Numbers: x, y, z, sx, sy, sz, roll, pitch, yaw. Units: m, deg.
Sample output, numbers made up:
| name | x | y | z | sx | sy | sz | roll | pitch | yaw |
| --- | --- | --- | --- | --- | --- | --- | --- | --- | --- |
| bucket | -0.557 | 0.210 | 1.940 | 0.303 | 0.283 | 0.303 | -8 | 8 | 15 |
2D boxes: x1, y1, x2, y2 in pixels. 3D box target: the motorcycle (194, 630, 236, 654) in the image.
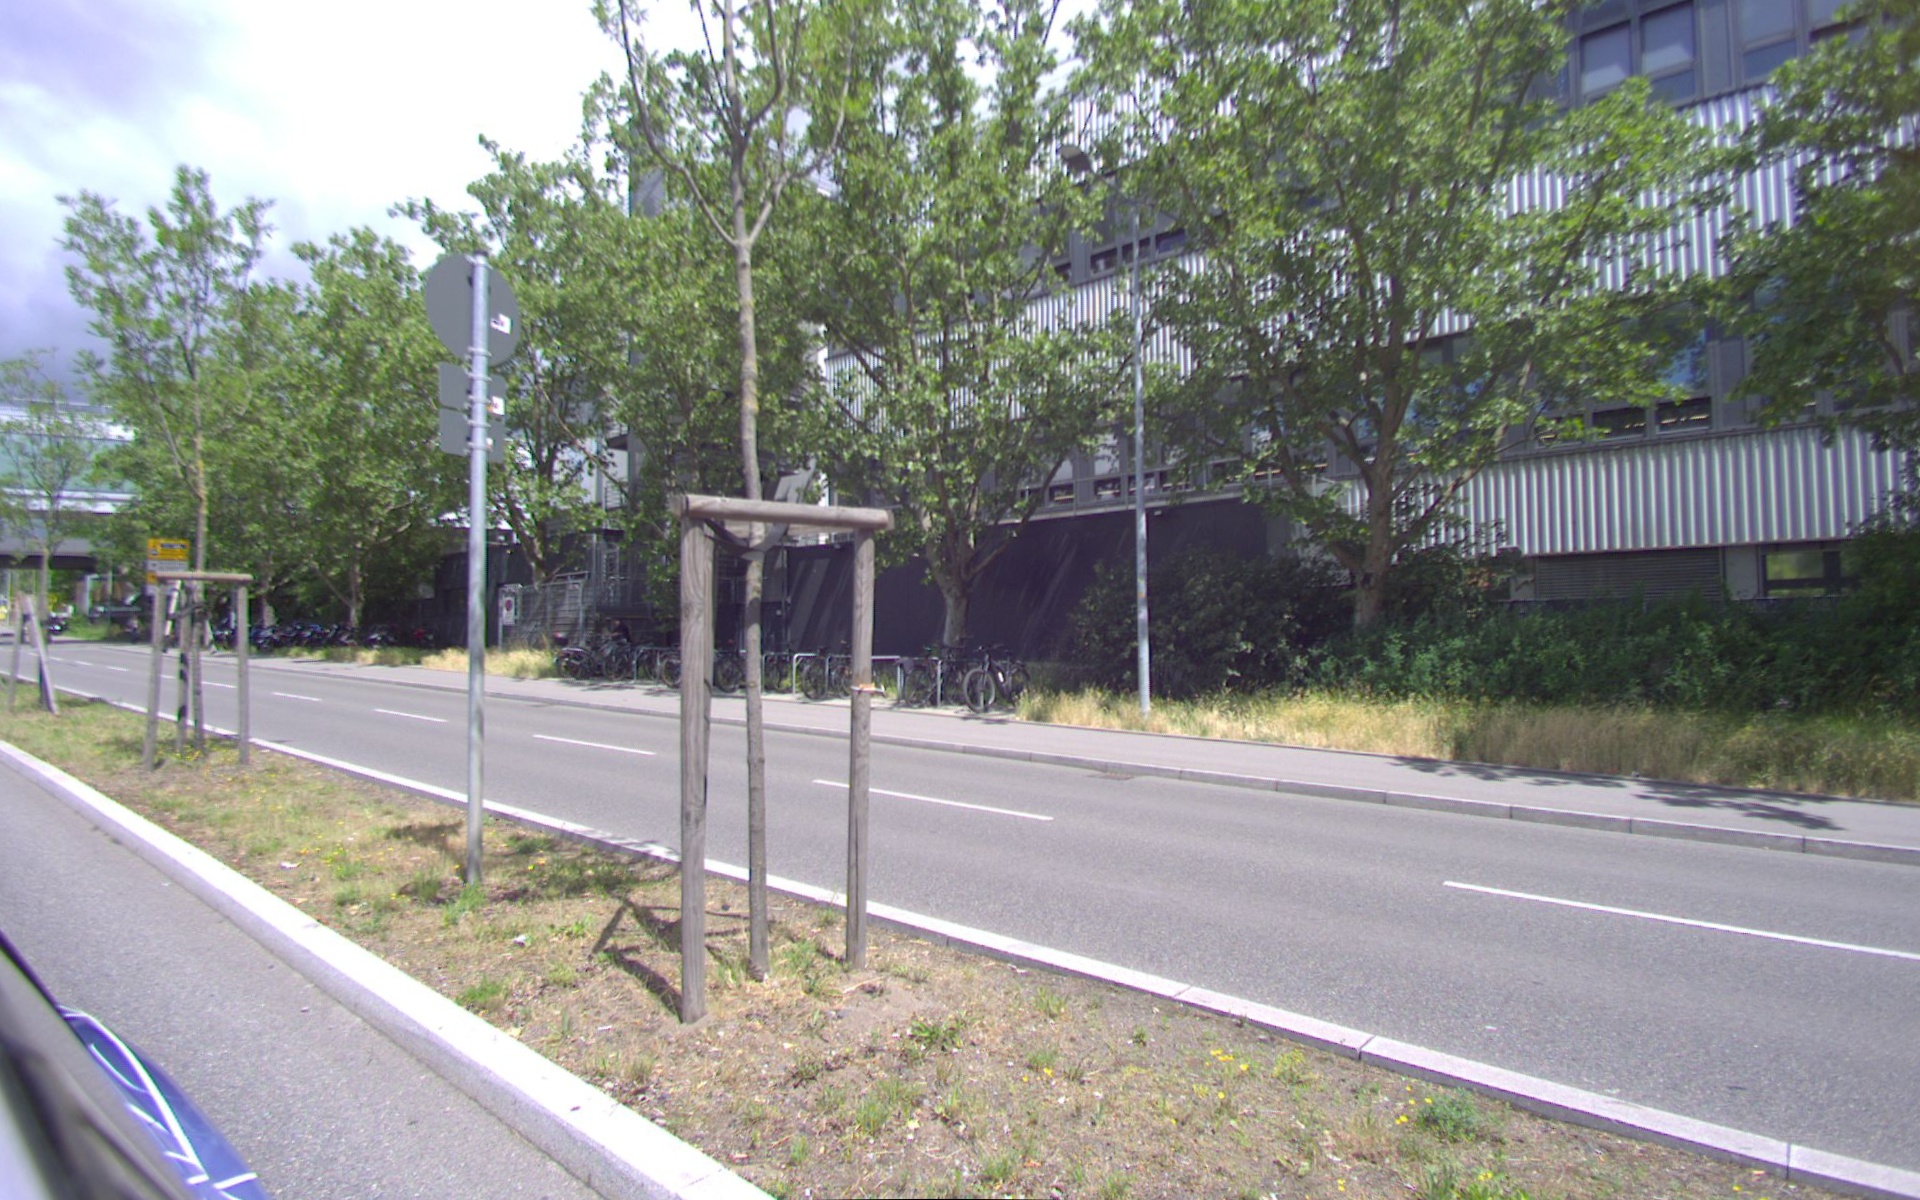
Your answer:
| name | x | y | z | sx | sy | sz | roll | pitch | yaw |
| --- | --- | --- | --- | --- | --- | --- | --- | --- | --- |
| motorcycle | -38.152 | 2.164 | 51.819 | 0.776 | 1.131 | 1.574 | -3 | -1 | 41 |

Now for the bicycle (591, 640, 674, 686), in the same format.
| name | x | y | z | sx | sy | sz | roll | pitch | yaw |
| --- | --- | --- | --- | --- | --- | --- | --- | --- | --- |
| bicycle | -8.185 | 1.560 | 25.390 | 0.497 | 1.070 | 2.060 | -1 | -1 | 38 |

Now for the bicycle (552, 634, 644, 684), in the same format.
| name | x | y | z | sx | sy | sz | roll | pitch | yaw |
| --- | --- | --- | --- | --- | --- | --- | --- | --- | --- |
| bicycle | -9.270 | 1.491 | 25.988 | 0.805 | 1.189 | 2.113 | -1 | -1 | 38 |

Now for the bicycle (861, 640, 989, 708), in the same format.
| name | x | y | z | sx | sy | sz | roll | pitch | yaw |
| --- | --- | --- | --- | --- | --- | --- | --- | --- | --- |
| bicycle | -0.631 | 1.372 | 19.307 | 2.533 | 1.166 | 0.727 | 0 | -1 | -40 |

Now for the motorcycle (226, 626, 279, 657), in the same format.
| name | x | y | z | sx | sy | sz | roll | pitch | yaw |
| --- | --- | --- | --- | --- | --- | --- | --- | --- | --- |
| motorcycle | -33.105 | 1.937 | 47.389 | 1.905 | 1.300 | 0.895 | -2 | -1 | -29 |

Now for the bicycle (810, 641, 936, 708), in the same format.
| name | x | y | z | sx | sy | sz | roll | pitch | yaw |
| --- | --- | --- | --- | --- | --- | --- | --- | --- | --- |
| bicycle | -1.658 | 1.408 | 19.686 | 2.533 | 1.166 | 0.645 | 0 | -1 | -40 |

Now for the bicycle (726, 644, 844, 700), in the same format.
| name | x | y | z | sx | sy | sz | roll | pitch | yaw |
| --- | --- | --- | --- | --- | --- | --- | --- | --- | --- |
| bicycle | -3.684 | 1.499 | 21.633 | 0.848 | 1.014 | 2.814 | -1 | -1 | 31 |

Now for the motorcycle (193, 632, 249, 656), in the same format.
| name | x | y | z | sx | sy | sz | roll | pitch | yaw |
| --- | --- | --- | --- | --- | --- | --- | --- | --- | --- |
| motorcycle | -35.833 | 2.139 | 49.085 | 0.917 | 1.124 | 1.919 | 0 | -3 | 28 |

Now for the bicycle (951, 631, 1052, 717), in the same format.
| name | x | y | z | sx | sy | sz | roll | pitch | yaw |
| --- | --- | --- | --- | --- | --- | --- | --- | --- | --- |
| bicycle | 0.740 | 1.233 | 17.416 | 0.489 | 1.374 | 2.144 | -2 | -2 | 42 |

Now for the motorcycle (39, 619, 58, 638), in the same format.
| name | x | y | z | sx | sy | sz | roll | pitch | yaw |
| --- | --- | --- | --- | --- | --- | --- | --- | --- | --- |
| motorcycle | -63.044 | 1.962 | 70.002 | 2.255 | 1.207 | 0.633 | 0 | 1 | 39 |

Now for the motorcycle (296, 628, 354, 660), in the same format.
| name | x | y | z | sx | sy | sz | roll | pitch | yaw |
| --- | --- | --- | --- | --- | --- | --- | --- | --- | --- |
| motorcycle | -25.642 | 1.751 | 40.882 | 1.855 | 1.195 | 0.730 | -2 | 0 | -42 |

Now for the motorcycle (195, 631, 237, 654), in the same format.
| name | x | y | z | sx | sy | sz | roll | pitch | yaw |
| --- | --- | --- | --- | --- | --- | --- | --- | --- | --- |
| motorcycle | -37.287 | 2.134 | 50.716 | 0.776 | 1.041 | 1.574 | -3 | -1 | 41 |

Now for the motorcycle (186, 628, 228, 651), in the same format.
| name | x | y | z | sx | sy | sz | roll | pitch | yaw |
| --- | --- | --- | --- | --- | --- | --- | --- | --- | --- |
| motorcycle | -39.187 | 2.056 | 52.665 | 0.773 | 1.131 | 1.579 | -3 | -1 | 31 |

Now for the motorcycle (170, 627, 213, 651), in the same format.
| name | x | y | z | sx | sy | sz | roll | pitch | yaw |
| --- | --- | --- | --- | --- | --- | --- | --- | --- | --- |
| motorcycle | -40.804 | 2.084 | 53.751 | 1.721 | 1.180 | 0.777 | -2 | -1 | -42 |

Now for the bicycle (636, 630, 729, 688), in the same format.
| name | x | y | z | sx | sy | sz | roll | pitch | yaw |
| --- | --- | --- | --- | --- | --- | --- | --- | --- | --- |
| bicycle | -6.657 | 1.390 | 24.360 | 0.805 | 1.292 | 2.113 | -1 | -1 | 38 |

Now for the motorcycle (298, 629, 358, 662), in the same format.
| name | x | y | z | sx | sy | sz | roll | pitch | yaw |
| --- | --- | --- | --- | --- | --- | --- | --- | --- | --- |
| motorcycle | -24.514 | 1.744 | 39.276 | 1.855 | 1.182 | 0.746 | -2 | -1 | -41 |

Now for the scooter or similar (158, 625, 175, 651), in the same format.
| name | x | y | z | sx | sy | sz | roll | pitch | yaw |
| --- | --- | --- | --- | --- | --- | --- | --- | --- | --- |
| scooter or similar | -39.165 | 1.880 | 49.934 | 1.478 | 1.245 | 0.350 | 0 | 0 | 40 |

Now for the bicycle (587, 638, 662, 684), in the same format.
| name | x | y | z | sx | sy | sz | roll | pitch | yaw |
| --- | --- | --- | --- | --- | --- | --- | --- | --- | --- |
| bicycle | -8.508 | 1.534 | 25.736 | 0.422 | 1.083 | 1.905 | -1 | -1 | 38 |

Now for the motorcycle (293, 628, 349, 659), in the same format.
| name | x | y | z | sx | sy | sz | roll | pitch | yaw |
| --- | --- | --- | --- | --- | --- | --- | --- | --- | --- |
| motorcycle | -27.036 | 1.831 | 42.849 | 0.655 | 1.219 | 1.857 | -3 | -1 | 43 |

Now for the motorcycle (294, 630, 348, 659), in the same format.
| name | x | y | z | sx | sy | sz | roll | pitch | yaw |
| --- | --- | --- | --- | --- | --- | --- | --- | --- | --- |
| motorcycle | -26.472 | 1.845 | 41.944 | 1.853 | 1.093 | 0.796 | -2 | -1 | -35 |

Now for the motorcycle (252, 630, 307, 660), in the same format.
| name | x | y | z | sx | sy | sz | roll | pitch | yaw |
| --- | --- | --- | --- | --- | --- | --- | --- | --- | --- |
| motorcycle | -29.477 | 1.927 | 43.846 | 1.855 | 1.188 | 0.816 | -2 | -1 | -41 |

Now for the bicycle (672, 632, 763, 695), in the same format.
| name | x | y | z | sx | sy | sz | roll | pitch | yaw |
| --- | --- | --- | --- | --- | --- | --- | --- | --- | --- |
| bicycle | -5.393 | 1.391 | 22.587 | 0.805 | 1.292 | 1.899 | -1 | -1 | 38 |

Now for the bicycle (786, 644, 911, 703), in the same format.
| name | x | y | z | sx | sy | sz | roll | pitch | yaw |
| --- | --- | --- | --- | --- | --- | --- | --- | --- | --- |
| bicycle | -2.215 | 1.444 | 20.336 | 2.532 | 1.104 | 0.697 | 2 | -3 | -40 |

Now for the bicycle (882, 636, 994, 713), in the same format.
| name | x | y | z | sx | sy | sz | roll | pitch | yaw |
| --- | --- | --- | --- | --- | --- | --- | --- | --- | --- |
| bicycle | -0.362 | 1.302 | 18.248 | 0.555 | 1.267 | 2.379 | -2 | -2 | 42 |

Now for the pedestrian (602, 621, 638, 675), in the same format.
| name | x | y | z | sx | sy | sz | roll | pitch | yaw |
| --- | --- | --- | --- | --- | --- | --- | --- | --- | --- |
| pedestrian | -10.120 | 1.414 | 30.121 | 0.744 | 1.563 | 0.822 | 0 | -1 | -40 |

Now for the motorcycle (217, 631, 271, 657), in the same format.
| name | x | y | z | sx | sy | sz | roll | pitch | yaw |
| --- | --- | --- | --- | --- | --- | --- | --- | --- | --- |
| motorcycle | -34.195 | 2.078 | 48.371 | 1.904 | 1.124 | 0.924 | -2 | -1 | -23 |

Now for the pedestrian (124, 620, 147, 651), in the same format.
| name | x | y | z | sx | sy | sz | roll | pitch | yaw |
| --- | --- | --- | --- | --- | --- | --- | --- | --- | --- |
| pedestrian | -43.735 | 1.863 | 53.690 | 0.812 | 1.624 | 0.760 | -1 | 1 | 39 |

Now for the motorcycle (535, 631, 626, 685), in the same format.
| name | x | y | z | sx | sy | sz | roll | pitch | yaw |
| --- | --- | --- | --- | --- | --- | --- | --- | --- | --- |
| motorcycle | -9.805 | 1.475 | 26.221 | 0.805 | 1.319 | 2.113 | -1 | -1 | 38 |

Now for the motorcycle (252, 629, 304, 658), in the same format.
| name | x | y | z | sx | sy | sz | roll | pitch | yaw |
| --- | --- | --- | --- | --- | --- | --- | --- | --- | --- |
| motorcycle | -30.244 | 1.912 | 44.881 | 1.853 | 1.188 | 0.817 | -2 | -1 | -35 |

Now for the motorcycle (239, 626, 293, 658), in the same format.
| name | x | y | z | sx | sy | sz | roll | pitch | yaw |
| --- | --- | --- | --- | --- | --- | --- | --- | --- | --- |
| motorcycle | -31.349 | 1.895 | 45.754 | 1.905 | 1.354 | 0.867 | -2 | -1 | -29 |

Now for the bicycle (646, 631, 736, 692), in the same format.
| name | x | y | z | sx | sy | sz | roll | pitch | yaw |
| --- | --- | --- | --- | --- | --- | --- | --- | --- | --- |
| bicycle | -6.151 | 1.377 | 23.194 | 0.805 | 1.292 | 1.899 | -1 | -1 | 38 |

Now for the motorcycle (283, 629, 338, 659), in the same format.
| name | x | y | z | sx | sy | sz | roll | pitch | yaw |
| --- | --- | --- | --- | --- | --- | --- | --- | --- | --- |
| motorcycle | -27.984 | 1.874 | 43.623 | 0.698 | 1.188 | 1.857 | -3 | -1 | 43 |

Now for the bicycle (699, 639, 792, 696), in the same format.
| name | x | y | z | sx | sy | sz | roll | pitch | yaw |
| --- | --- | --- | --- | --- | --- | --- | --- | --- | --- |
| bicycle | -4.618 | 1.438 | 21.930 | 0.805 | 1.131 | 1.899 | -1 | -1 | 38 |

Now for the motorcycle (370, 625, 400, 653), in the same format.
| name | x | y | z | sx | sy | sz | roll | pitch | yaw |
| --- | --- | --- | --- | --- | --- | --- | --- | --- | --- |
| motorcycle | -26.314 | 1.776 | 46.295 | 1.983 | 1.219 | 0.645 | -3 | -1 | 45 |
